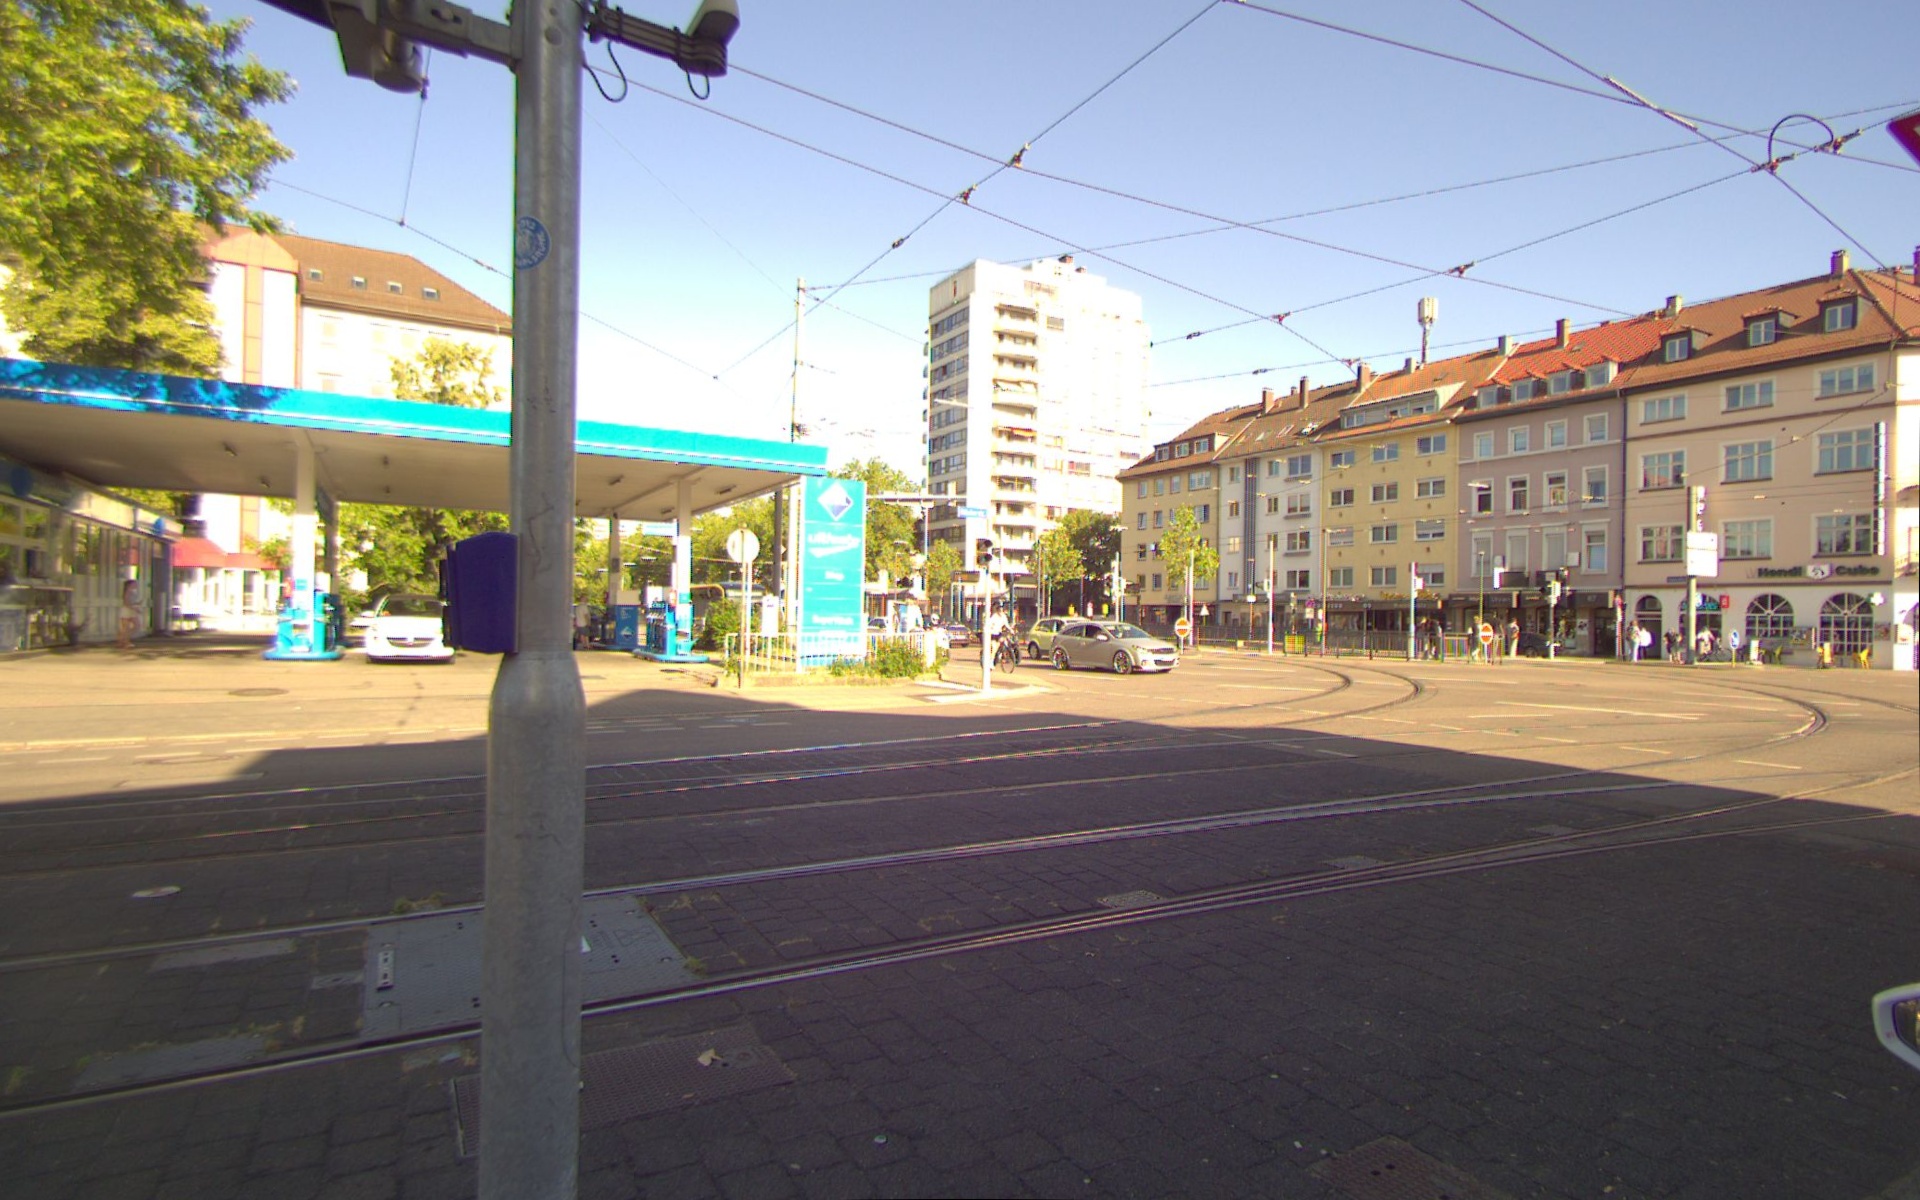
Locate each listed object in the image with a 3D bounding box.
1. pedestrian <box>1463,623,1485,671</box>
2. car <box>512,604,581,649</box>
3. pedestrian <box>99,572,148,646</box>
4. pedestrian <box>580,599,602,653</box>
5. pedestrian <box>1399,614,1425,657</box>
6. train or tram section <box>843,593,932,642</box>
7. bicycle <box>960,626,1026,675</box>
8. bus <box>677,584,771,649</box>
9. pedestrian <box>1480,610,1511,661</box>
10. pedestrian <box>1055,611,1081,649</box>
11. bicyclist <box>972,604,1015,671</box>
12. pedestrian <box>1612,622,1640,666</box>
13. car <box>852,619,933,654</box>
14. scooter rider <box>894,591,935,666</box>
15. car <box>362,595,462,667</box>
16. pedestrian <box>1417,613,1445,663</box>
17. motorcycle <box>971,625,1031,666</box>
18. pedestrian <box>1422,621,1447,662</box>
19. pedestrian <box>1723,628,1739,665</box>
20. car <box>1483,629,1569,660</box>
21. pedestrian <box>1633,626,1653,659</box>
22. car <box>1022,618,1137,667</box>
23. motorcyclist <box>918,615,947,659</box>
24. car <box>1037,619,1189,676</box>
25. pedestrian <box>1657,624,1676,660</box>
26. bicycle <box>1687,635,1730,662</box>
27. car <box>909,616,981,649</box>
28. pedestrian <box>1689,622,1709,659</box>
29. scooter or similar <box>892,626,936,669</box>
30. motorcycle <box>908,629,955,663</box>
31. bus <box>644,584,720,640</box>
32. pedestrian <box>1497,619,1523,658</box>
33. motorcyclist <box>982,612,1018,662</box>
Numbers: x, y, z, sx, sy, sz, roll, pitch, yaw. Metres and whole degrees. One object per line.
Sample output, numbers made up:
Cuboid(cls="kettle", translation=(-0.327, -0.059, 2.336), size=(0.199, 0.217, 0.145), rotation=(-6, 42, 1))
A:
Cuboid(cls="pedestrian", translation=(19.783, 1.794, 38.654), size=(0.553, 1.810, 0.557), rotation=(1, -1, -30))
Cuboid(cls="car", translation=(-13.582, 0.849, 32.881), size=(1.697, 1.360, 3.970), rotation=(1, -1, -28))
Cuboid(cls="pedestrian", translation=(-19.719, 0.218, 23.687), size=(0.751, 1.715, 0.583), rotation=(1, -1, -28))
Cuboid(cls="pedestrian", translation=(-11.826, 0.824, 32.201), size=(0.579, 1.715, 0.756), rotation=(1, -1, -25))
Cuboid(cls="pedestrian", translation=(17.666, 1.365, 39.280), size=(0.565, 1.657, 0.737), rotation=(1, -1, -30))
Cuboid(cls="train or tram section", translation=(-6.647, 1.467, 89.494), size=(2.926, 3.986, 11.589), rotation=(2, 0, -30))
Cuboid(cls="bicycle", translation=(0.870, 1.338, 26.969), size=(0.736, 1.239, 1.909), rotation=(1, -1, -37))
Cuboid(cls="bus", translation=(-13.993, 0.814, 58.861), size=(2.748, 3.504, 9.364), rotation=(0, 1, -31))
Cuboid(cls="pedestrian", translation=(19.720, 1.302, 36.984), size=(0.714, 1.853, 0.763), rotation=(1, -1, -30))
Cuboid(cls="pedestrian", translation=(4.707, 1.306, 43.689), size=(0.788, 1.632, 0.766), rotation=(1, -1, -36))
Cuboid(cls="bicyclist", translation=(0.895, 0.994, 26.981), size=(0.727, 1.735, 0.932), rotation=(1, -1, -37))
Cuboid(cls="pedestrian", translation=(26.406, 1.729, 39.842), size=(0.621, 1.704, 0.737), rotation=(1, -1, -30))
Cuboid(cls="car", translation=(-3.149, 1.631, 46.008), size=(1.723, 1.492, 4.644), rotation=(1, -1, -33))
Cuboid(cls="scooter rider", translation=(-1.210, 0.737, 26.543), size=(0.788, 1.937, 0.791), rotation=(1, 0, -30))
Cuboid(cls="car", translation=(-12.362, 0.663, 22.560), size=(1.793, 1.461, 3.966), rotation=(1, -1, -31))
Cuboid(cls="pedestrian", translation=(17.987, 1.434, 38.372), size=(0.769, 1.874, 0.625), rotation=(1, -1, -30))
Cuboid(cls="motorcycle", translation=(1.342, 1.486, 33.216), size=(0.689, 1.244, 2.186), rotation=(1, -1, -40))
Cuboid(cls="pedestrian", translation=(19.047, 1.650, 40.340), size=(0.553, 1.602, 0.695), rotation=(1, -1, -30))
Cuboid(cls="pedestrian", translation=(26.966, 1.630, 35.142), size=(0.447, 1.270, 0.361), rotation=(1, -1, -41))
Cuboid(cls="car", translation=(30.883, 2.403, 54.856), size=(1.795, 1.511, 3.715), rotation=(2, 0, -27))
Cuboid(cls="pedestrian", translation=(36.126, 2.237, 53.115), size=(0.623, 1.704, 0.734), rotation=(1, -1, -41))
Cuboid(cls="car", translation=(4.008, 1.395, 34.222), size=(1.724, 1.518, 3.929), rotation=(1, -1, -35))
Cuboid(cls="motorcyclist", translation=(-0.956, 1.288, 35.316), size=(0.654, 1.527, 0.807), rotation=(1, -1, -41))
Cuboid(cls="car", translation=(4.180, 1.282, 28.074), size=(1.725, 1.459, 4.239), rotation=(2, -2, -36))
Cuboid(cls="pedestrian", translation=(33.897, 2.024, 48.180), size=(0.731, 1.704, 0.626), rotation=(0, -1, 35))
Cuboid(cls="bicycle", translation=(37.805, 2.441, 50.751), size=(1.693, 1.293, 0.385), rotation=(0, -1, 44))
Cuboid(cls="car", translation=(-0.779, 1.527, 47.872), size=(1.697, 1.439, 4.149), rotation=(1, -1, -28))
Cuboid(cls="pedestrian", translation=(34.600, 1.889, 47.036), size=(0.731, 1.704, 0.626), rotation=(0, -1, 35))
Cuboid(cls="scooter or similar", translation=(-1.226, 1.237, 26.503), size=(0.558, 1.057, 1.424), rotation=(1, -1, -30))
Cuboid(cls="motorcycle", translation=(-1.000, 1.599, 35.232), size=(0.500, 1.133, 2.008), rotation=(1, -1, -40))
Cuboid(cls="bus", translation=(-18.522, 0.688, 66.610), size=(2.755, 3.504, 8.571), rotation=(0, 1, -30))
Cuboid(cls="pedestrian", translation=(24.176, 1.679, 44.154), size=(0.621, 1.704, 0.763), rotation=(1, -1, -30))
Cuboid(cls="motorcyclist", translation=(1.331, 1.221, 33.400), size=(0.810, 1.642, 0.824), rotation=(2, 0, -41))
